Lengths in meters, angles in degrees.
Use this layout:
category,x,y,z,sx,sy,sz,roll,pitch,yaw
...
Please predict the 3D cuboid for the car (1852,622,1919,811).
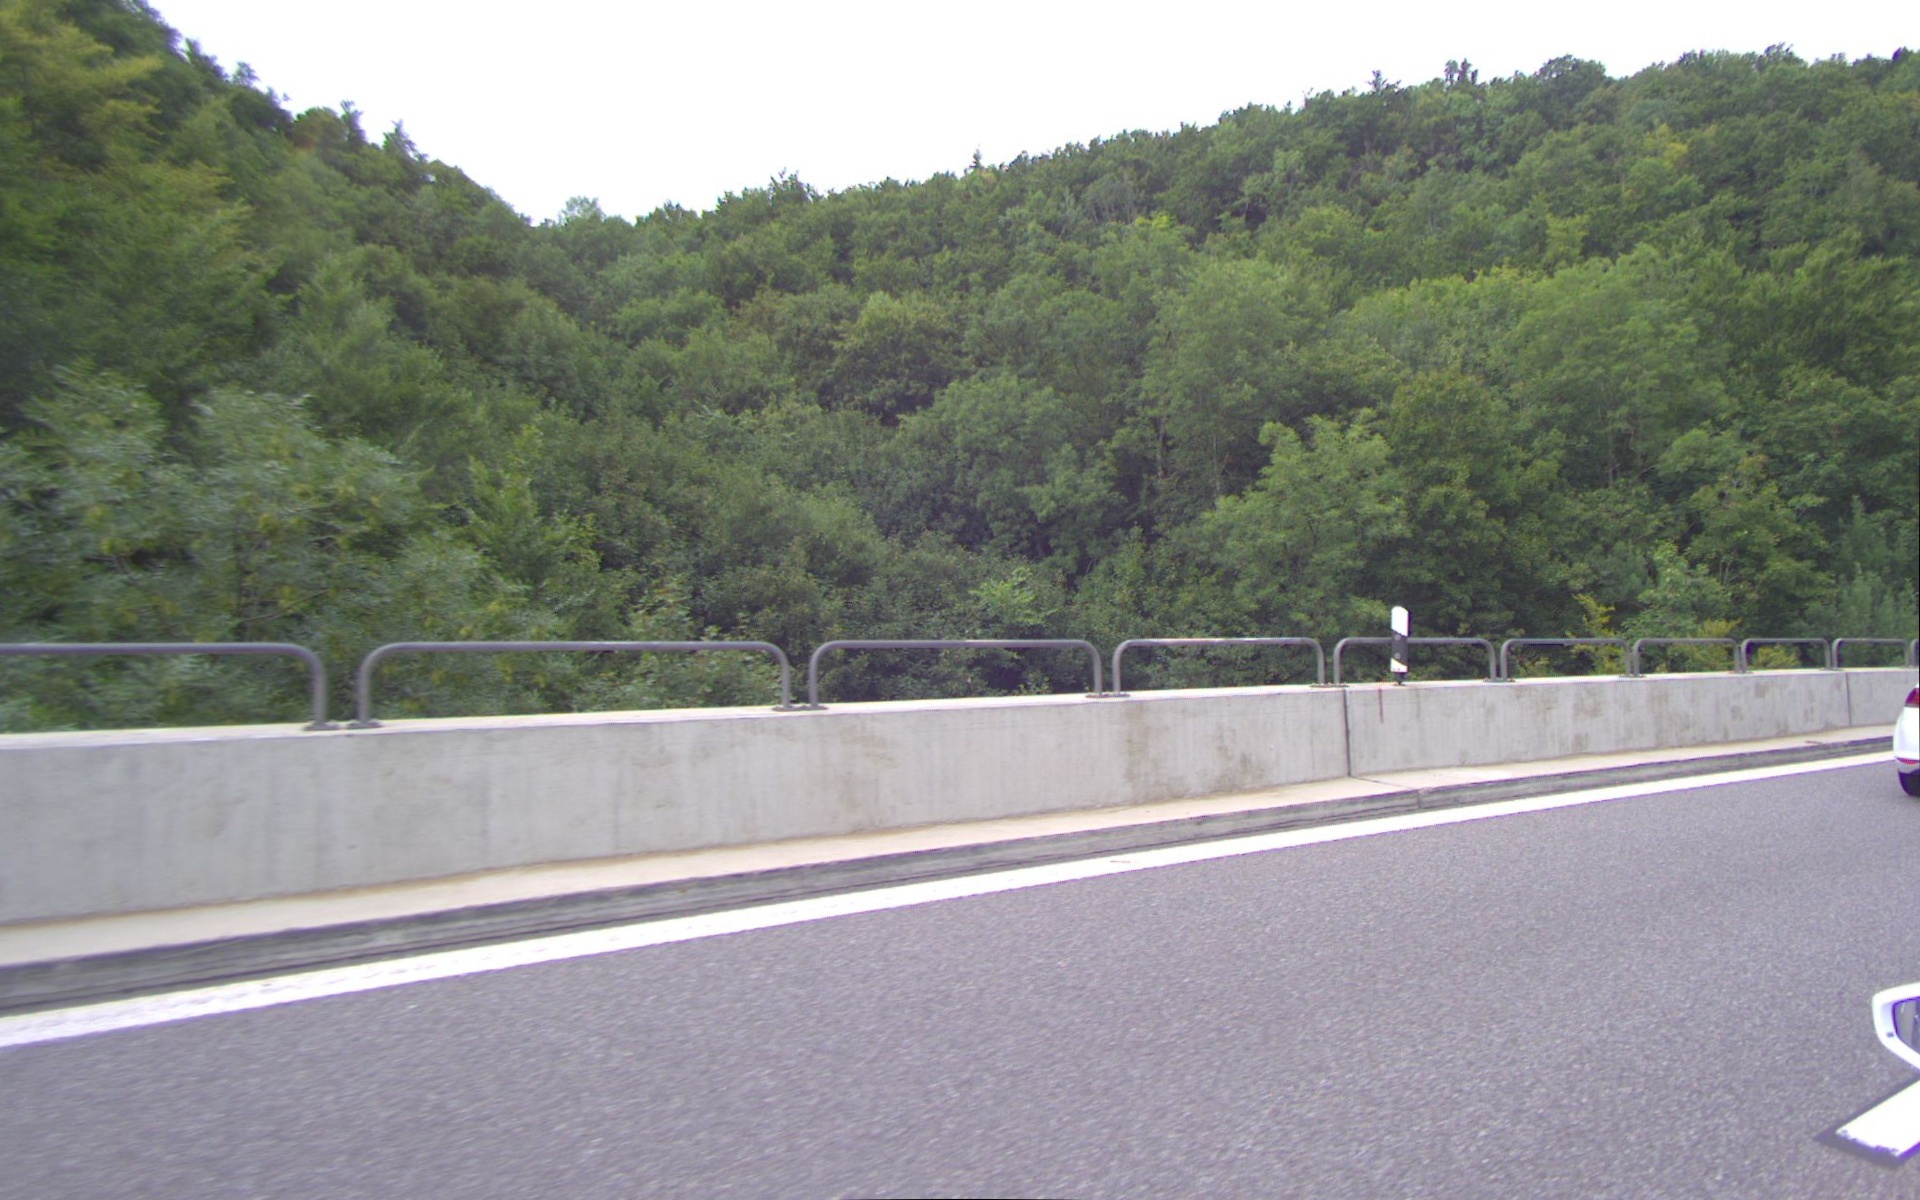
category,x,y,z,sx,sy,sz,roll,pitch,yaw
car,9.860,0.962,8.711,4.572,1.501,1.836,1,-1,-30
